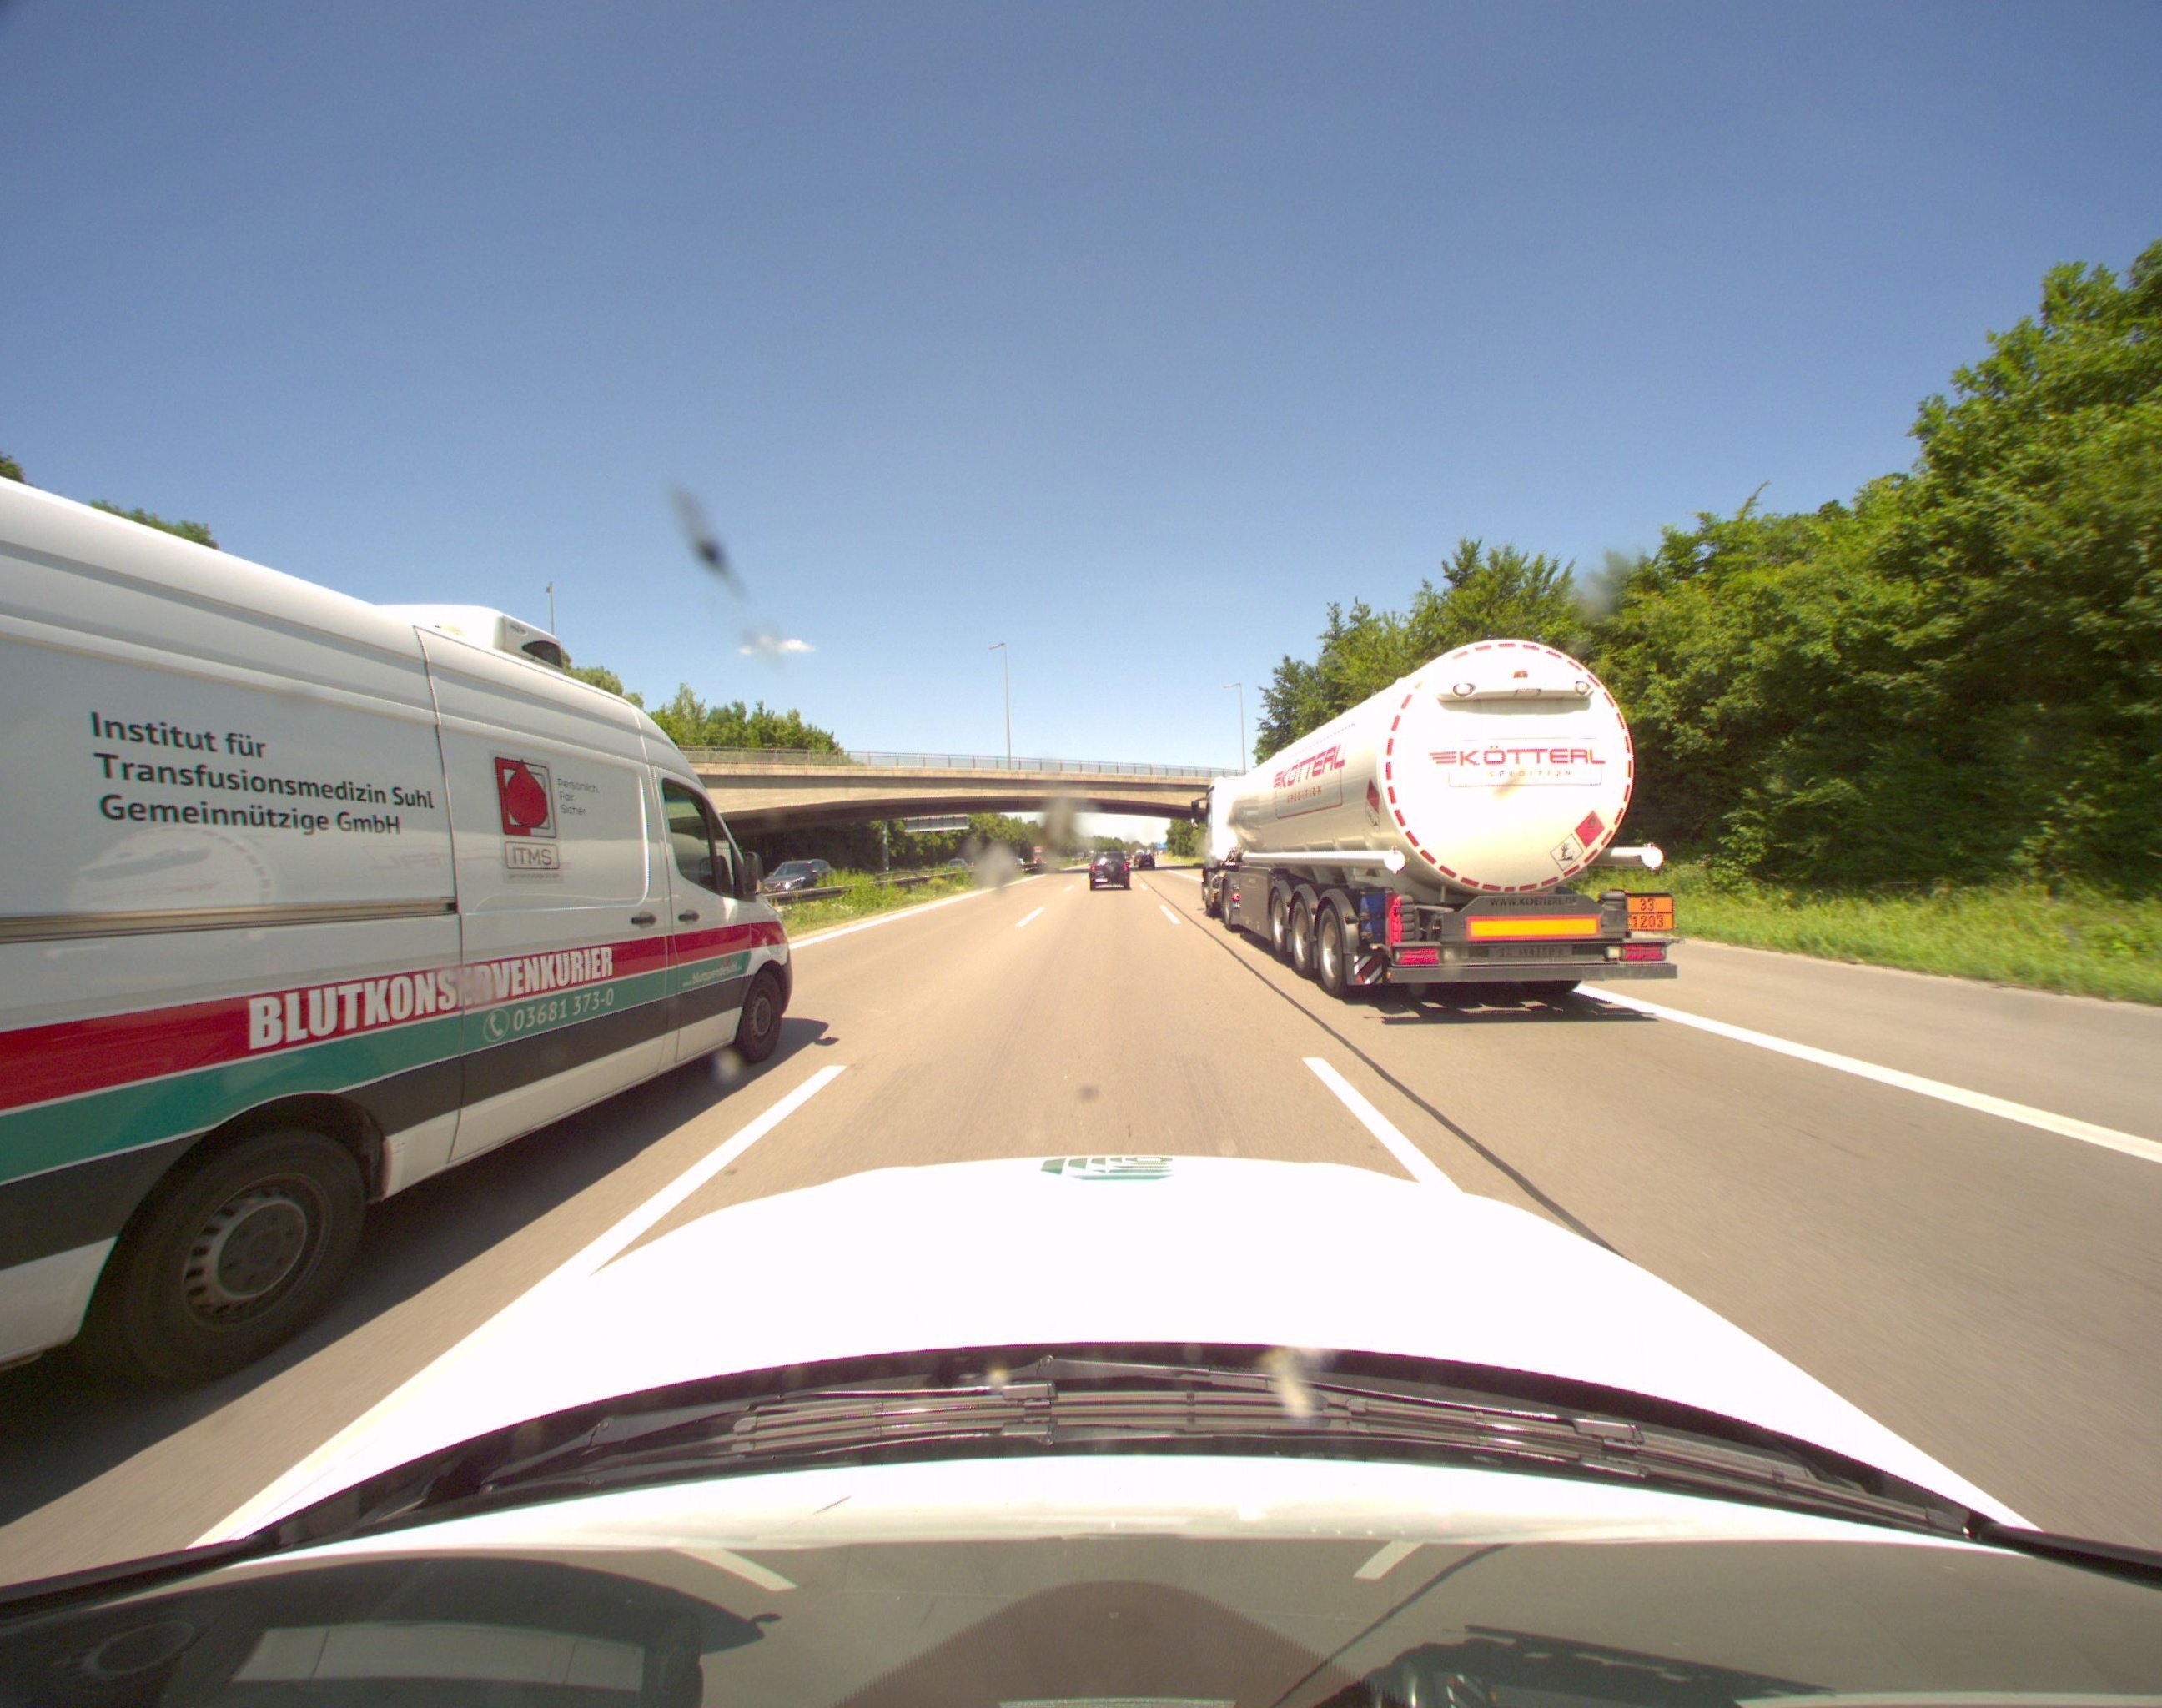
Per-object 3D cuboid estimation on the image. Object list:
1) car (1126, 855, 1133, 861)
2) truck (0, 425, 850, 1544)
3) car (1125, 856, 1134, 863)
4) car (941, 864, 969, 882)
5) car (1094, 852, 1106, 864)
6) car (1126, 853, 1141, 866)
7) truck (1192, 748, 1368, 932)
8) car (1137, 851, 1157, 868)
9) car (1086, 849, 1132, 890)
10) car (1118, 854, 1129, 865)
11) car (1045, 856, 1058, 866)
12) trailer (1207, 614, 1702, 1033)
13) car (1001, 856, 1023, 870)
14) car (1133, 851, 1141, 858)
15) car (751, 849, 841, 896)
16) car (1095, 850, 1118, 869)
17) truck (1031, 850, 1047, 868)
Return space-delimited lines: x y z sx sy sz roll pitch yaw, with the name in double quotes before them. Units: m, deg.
"car" 15.034 1.306 253.526 1.806 1.746 4.001 -2 0 1
"truck" -3.341 0.300 4.426 1.986 2.542 6.696 -1 0 2
"car" 11.541 1.320 193.658 1.986 1.750 4.206 -2 0 1
"car" -12.272 1.864 79.474 1.892 1.641 4.001 -2 -1 2
"car" 3.695 0.771 157.253 1.986 2.013 4.952 -3 0 2
"car" 6.940 0.773 107.044 1.835 1.611 4.002 -2 -1 2
"truck" 4.142 -0.252 18.389 2.627 3.374 6.492 -1 0 3
"car" 7.090 0.604 87.348 1.985 1.684 4.003 -2 -1 3
"car" 1.210 0.675 36.336 1.900 1.665 4.000 -2 0 0
"car" 8.233 1.072 159.272 1.986 2.013 4.770 -2 0 2
"car" -4.892 1.219 135.122 1.768 1.473 4.421 -4 0 2
"trailer" 3.917 -0.233 12.260 2.638 3.390 11.156 -1 0 2
"car" -7.816 1.002 92.402 1.852 1.527 4.754 -2 0 2
"car" 14.638 0.123 213.361 1.806 1.746 3.999 -2 0 0
"car" -11.110 0.670 32.071 1.789 1.666 4.132 -2 0 3
"car" 2.520 0.518 79.511 1.985 1.706 4.339 -3 0 3
"truck" -9.971 1.170 194.015 2.773 4.060 6.215 -4 0 3
